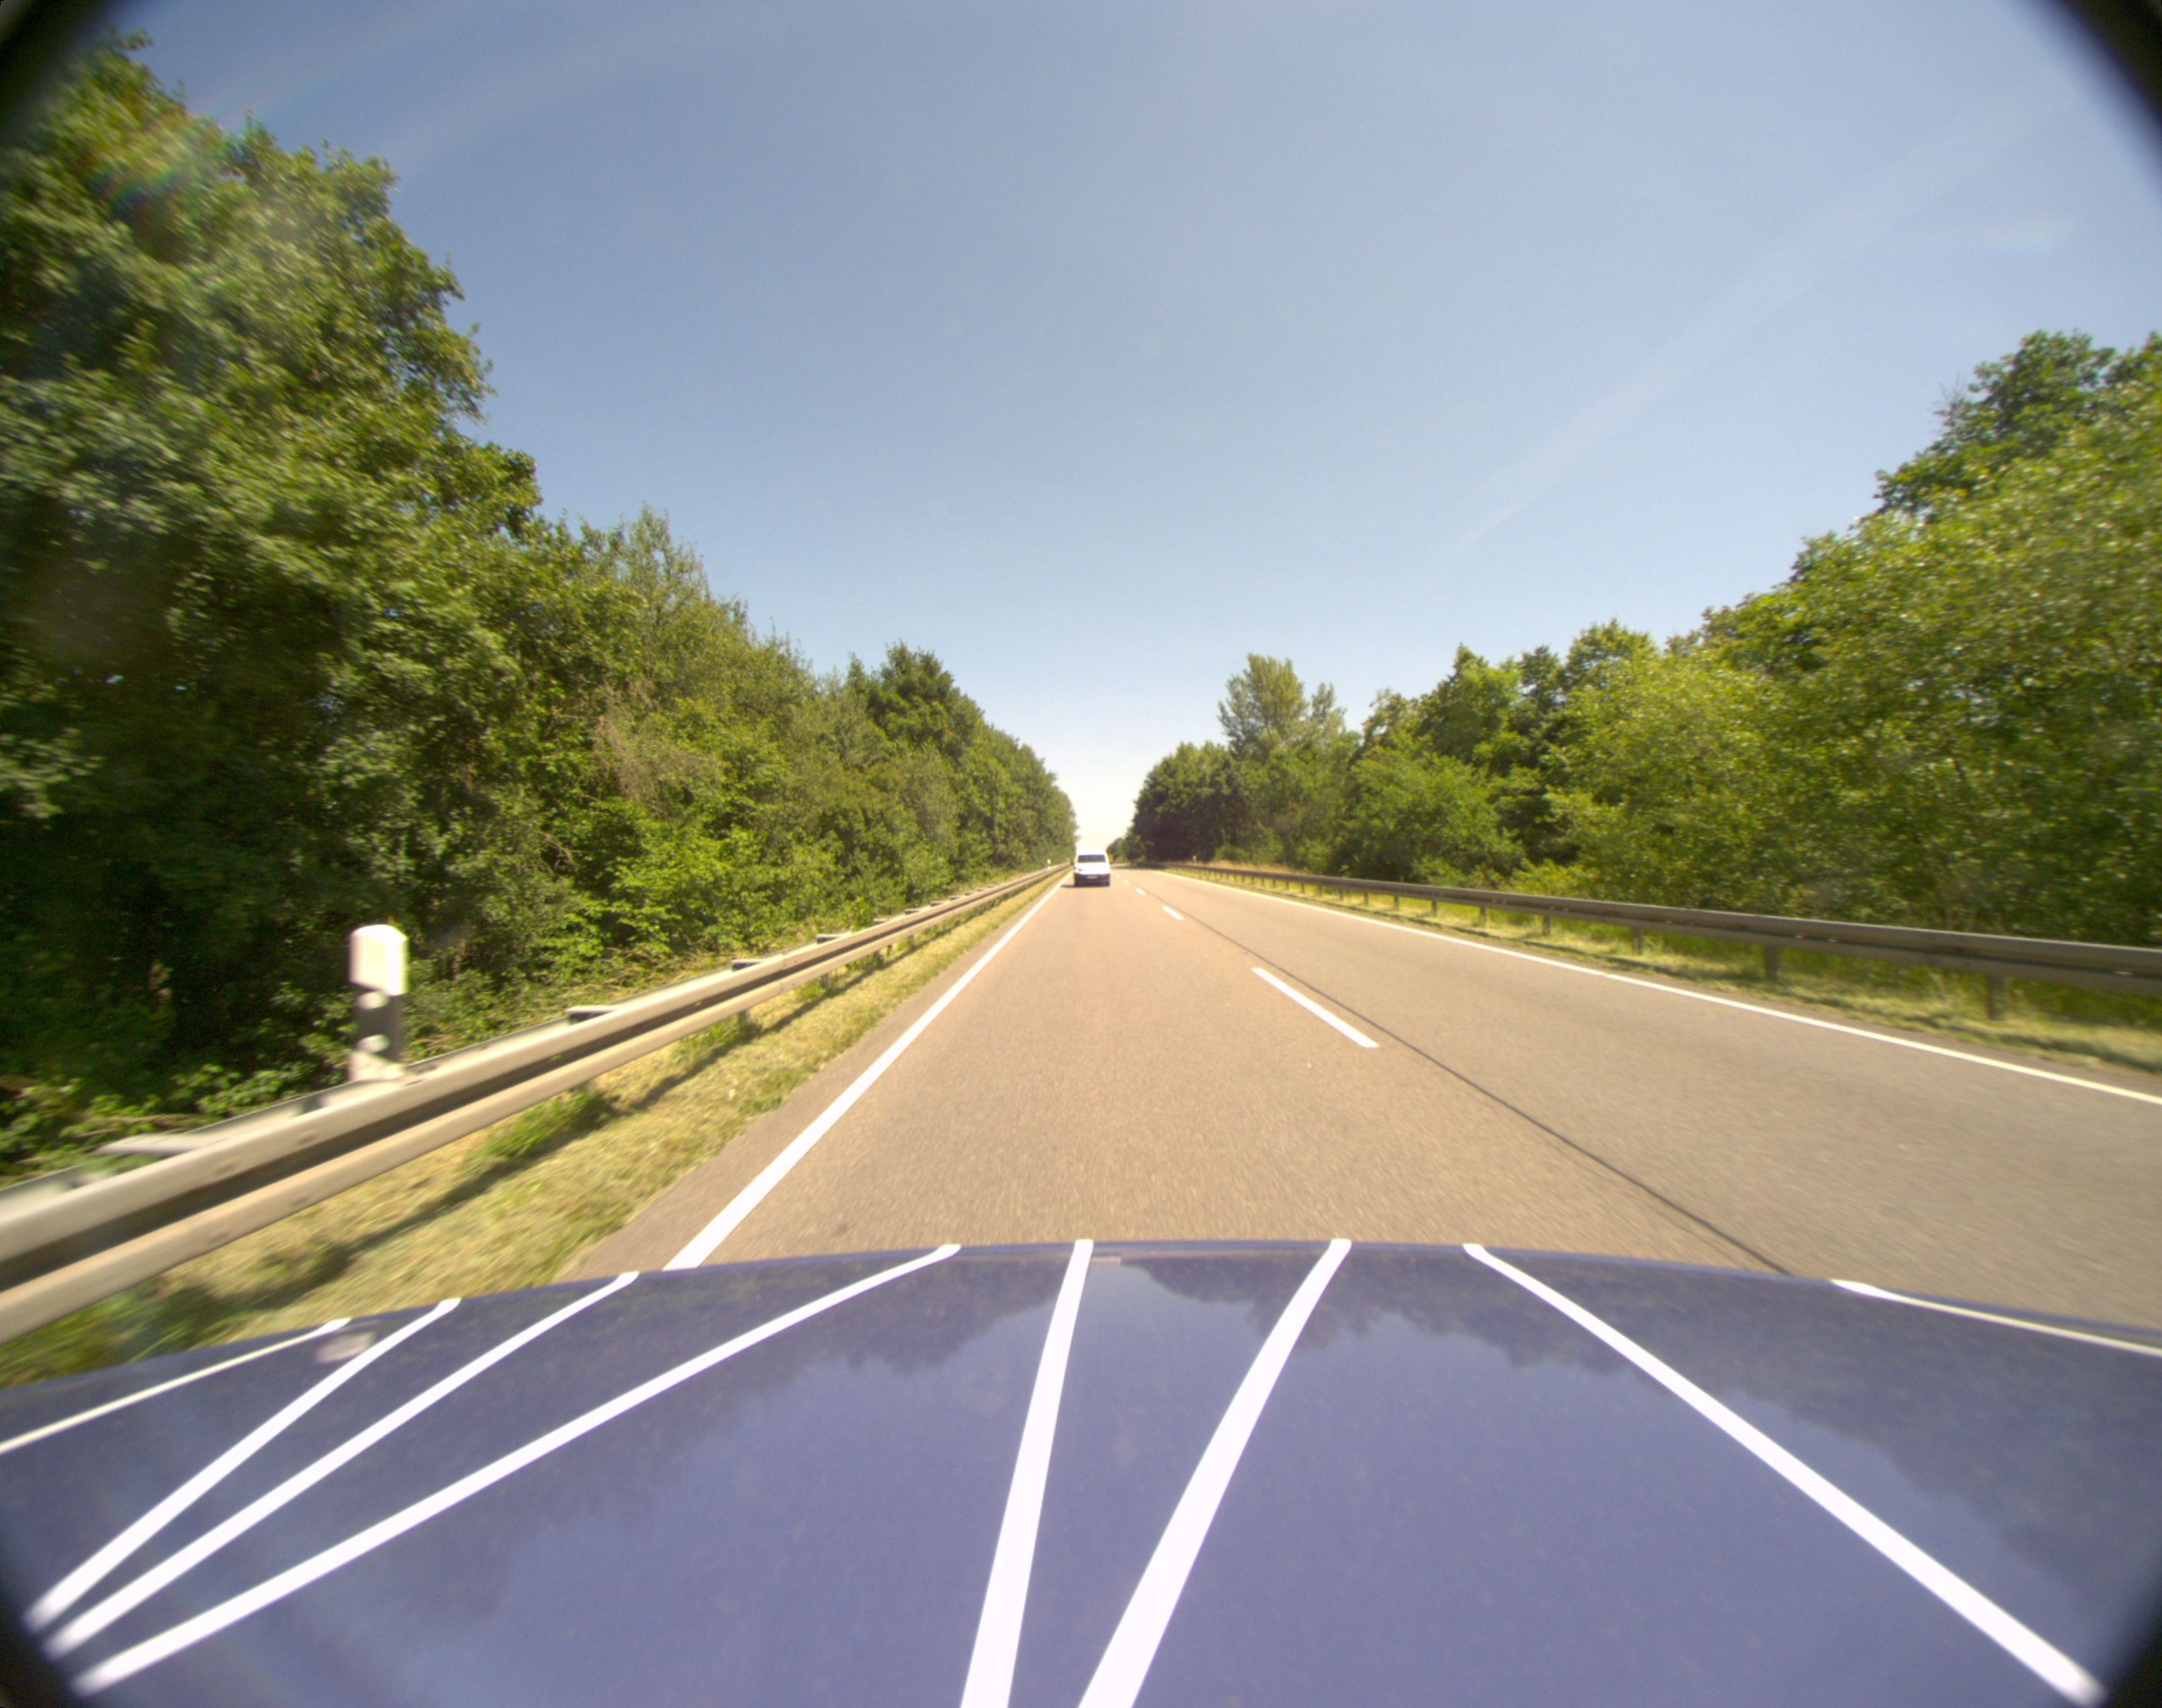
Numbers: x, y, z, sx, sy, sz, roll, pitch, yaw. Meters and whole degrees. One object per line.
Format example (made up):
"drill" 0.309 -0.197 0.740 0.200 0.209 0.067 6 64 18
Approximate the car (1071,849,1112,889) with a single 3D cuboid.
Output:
"car" 0.514 0.696 36.618 1.782 1.743 4.513 -2 -1 1

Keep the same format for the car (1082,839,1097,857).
"car" 1.127 -0.759 100.487 1.782 2.287 4.106 -2 -1 1

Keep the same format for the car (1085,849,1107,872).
"car" 1.350 0.599 68.643 1.782 1.960 4.106 -2 -1 1
